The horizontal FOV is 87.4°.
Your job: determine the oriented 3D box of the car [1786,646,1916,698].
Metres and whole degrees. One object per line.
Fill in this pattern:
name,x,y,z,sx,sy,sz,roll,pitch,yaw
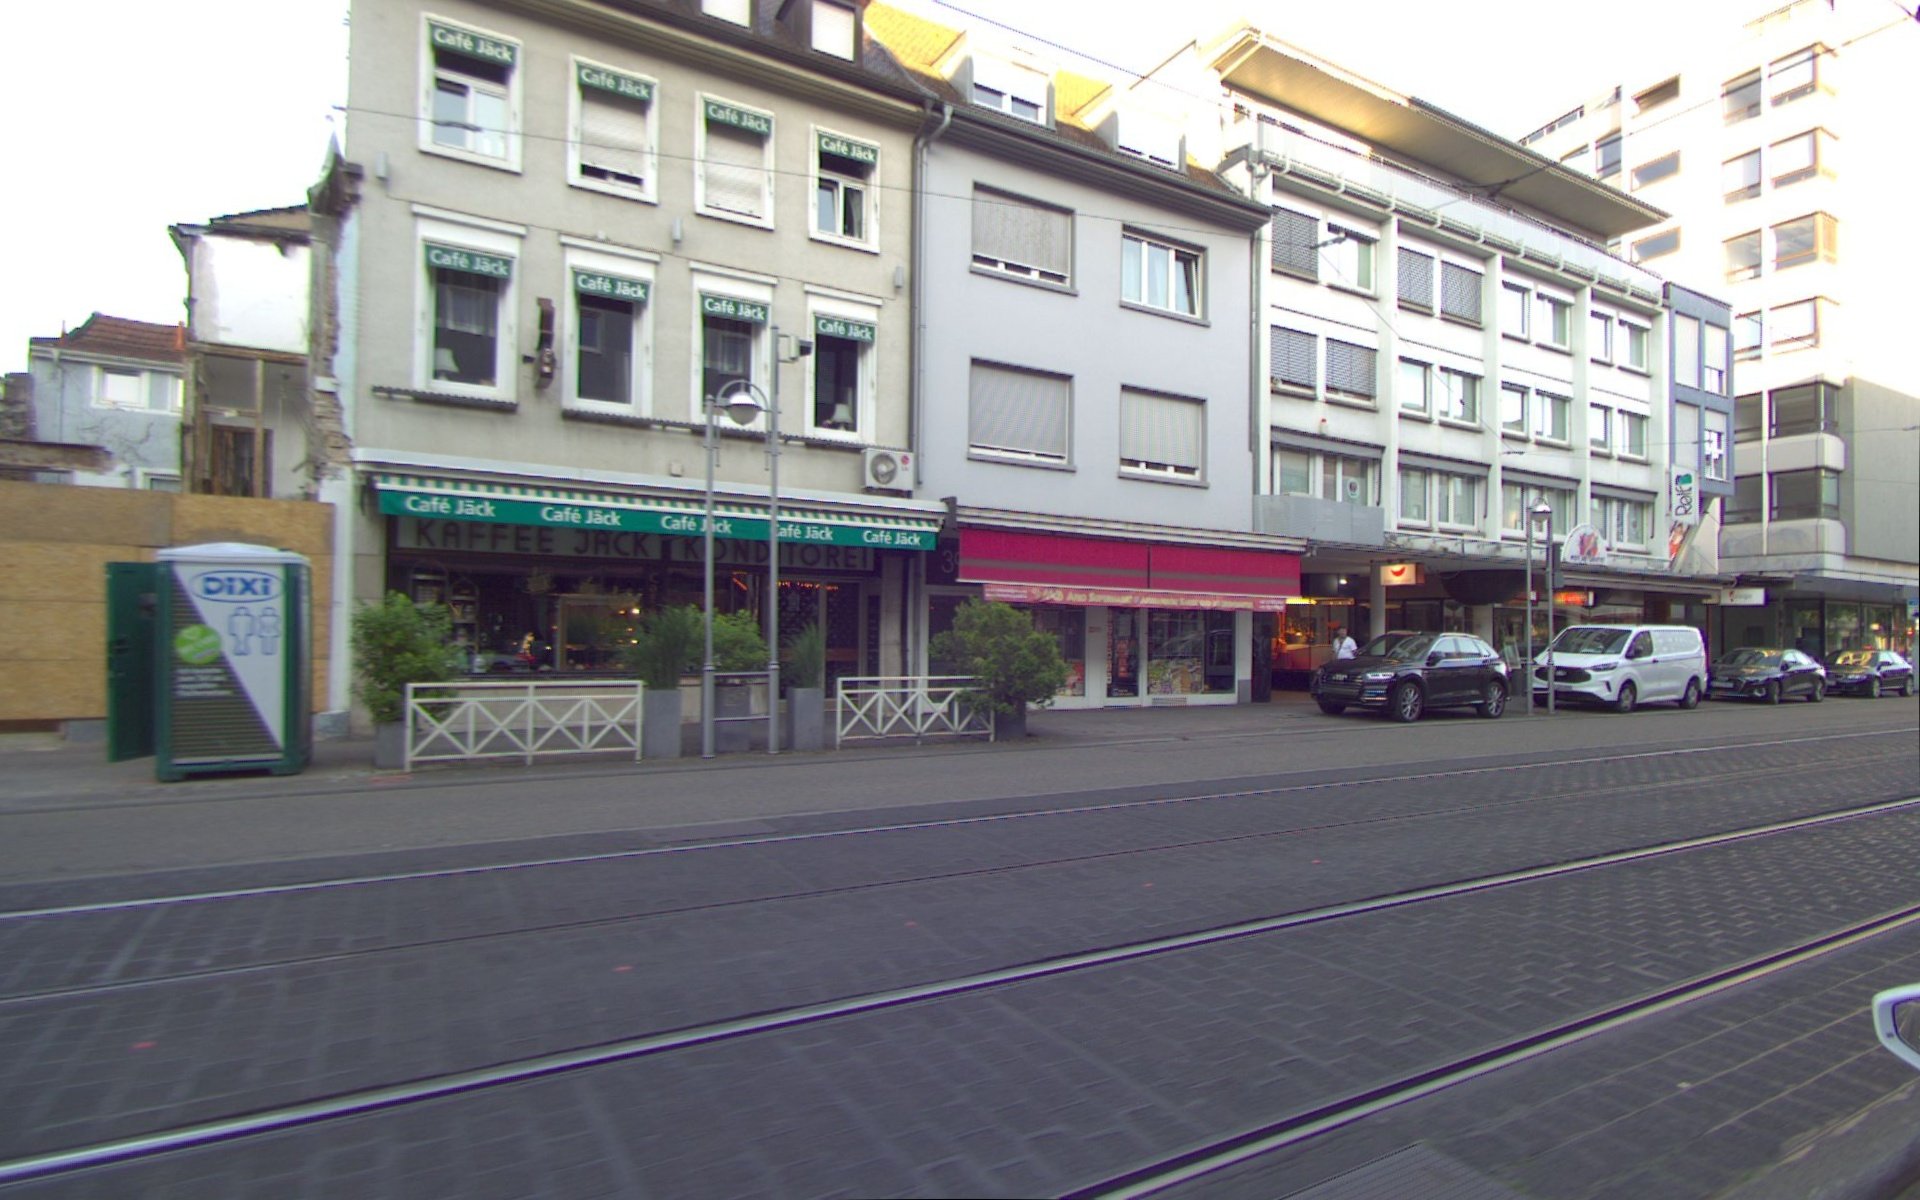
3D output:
car,27.432,2.174,30.909,4.042,1.480,1.782,2,-2,-30

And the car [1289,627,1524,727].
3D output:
car,8.900,1.476,19.934,4.535,1.720,1.984,2,-1,-31

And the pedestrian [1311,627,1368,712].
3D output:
pedestrian,8.340,1.519,22.083,0.809,1.806,0.813,2,0,-30

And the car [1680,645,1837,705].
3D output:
car,21.899,2.037,27.521,4.518,1.445,1.863,3,-1,-31

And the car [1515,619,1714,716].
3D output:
car,15.524,1.562,23.753,5.043,2.040,1.954,3,-1,-32
